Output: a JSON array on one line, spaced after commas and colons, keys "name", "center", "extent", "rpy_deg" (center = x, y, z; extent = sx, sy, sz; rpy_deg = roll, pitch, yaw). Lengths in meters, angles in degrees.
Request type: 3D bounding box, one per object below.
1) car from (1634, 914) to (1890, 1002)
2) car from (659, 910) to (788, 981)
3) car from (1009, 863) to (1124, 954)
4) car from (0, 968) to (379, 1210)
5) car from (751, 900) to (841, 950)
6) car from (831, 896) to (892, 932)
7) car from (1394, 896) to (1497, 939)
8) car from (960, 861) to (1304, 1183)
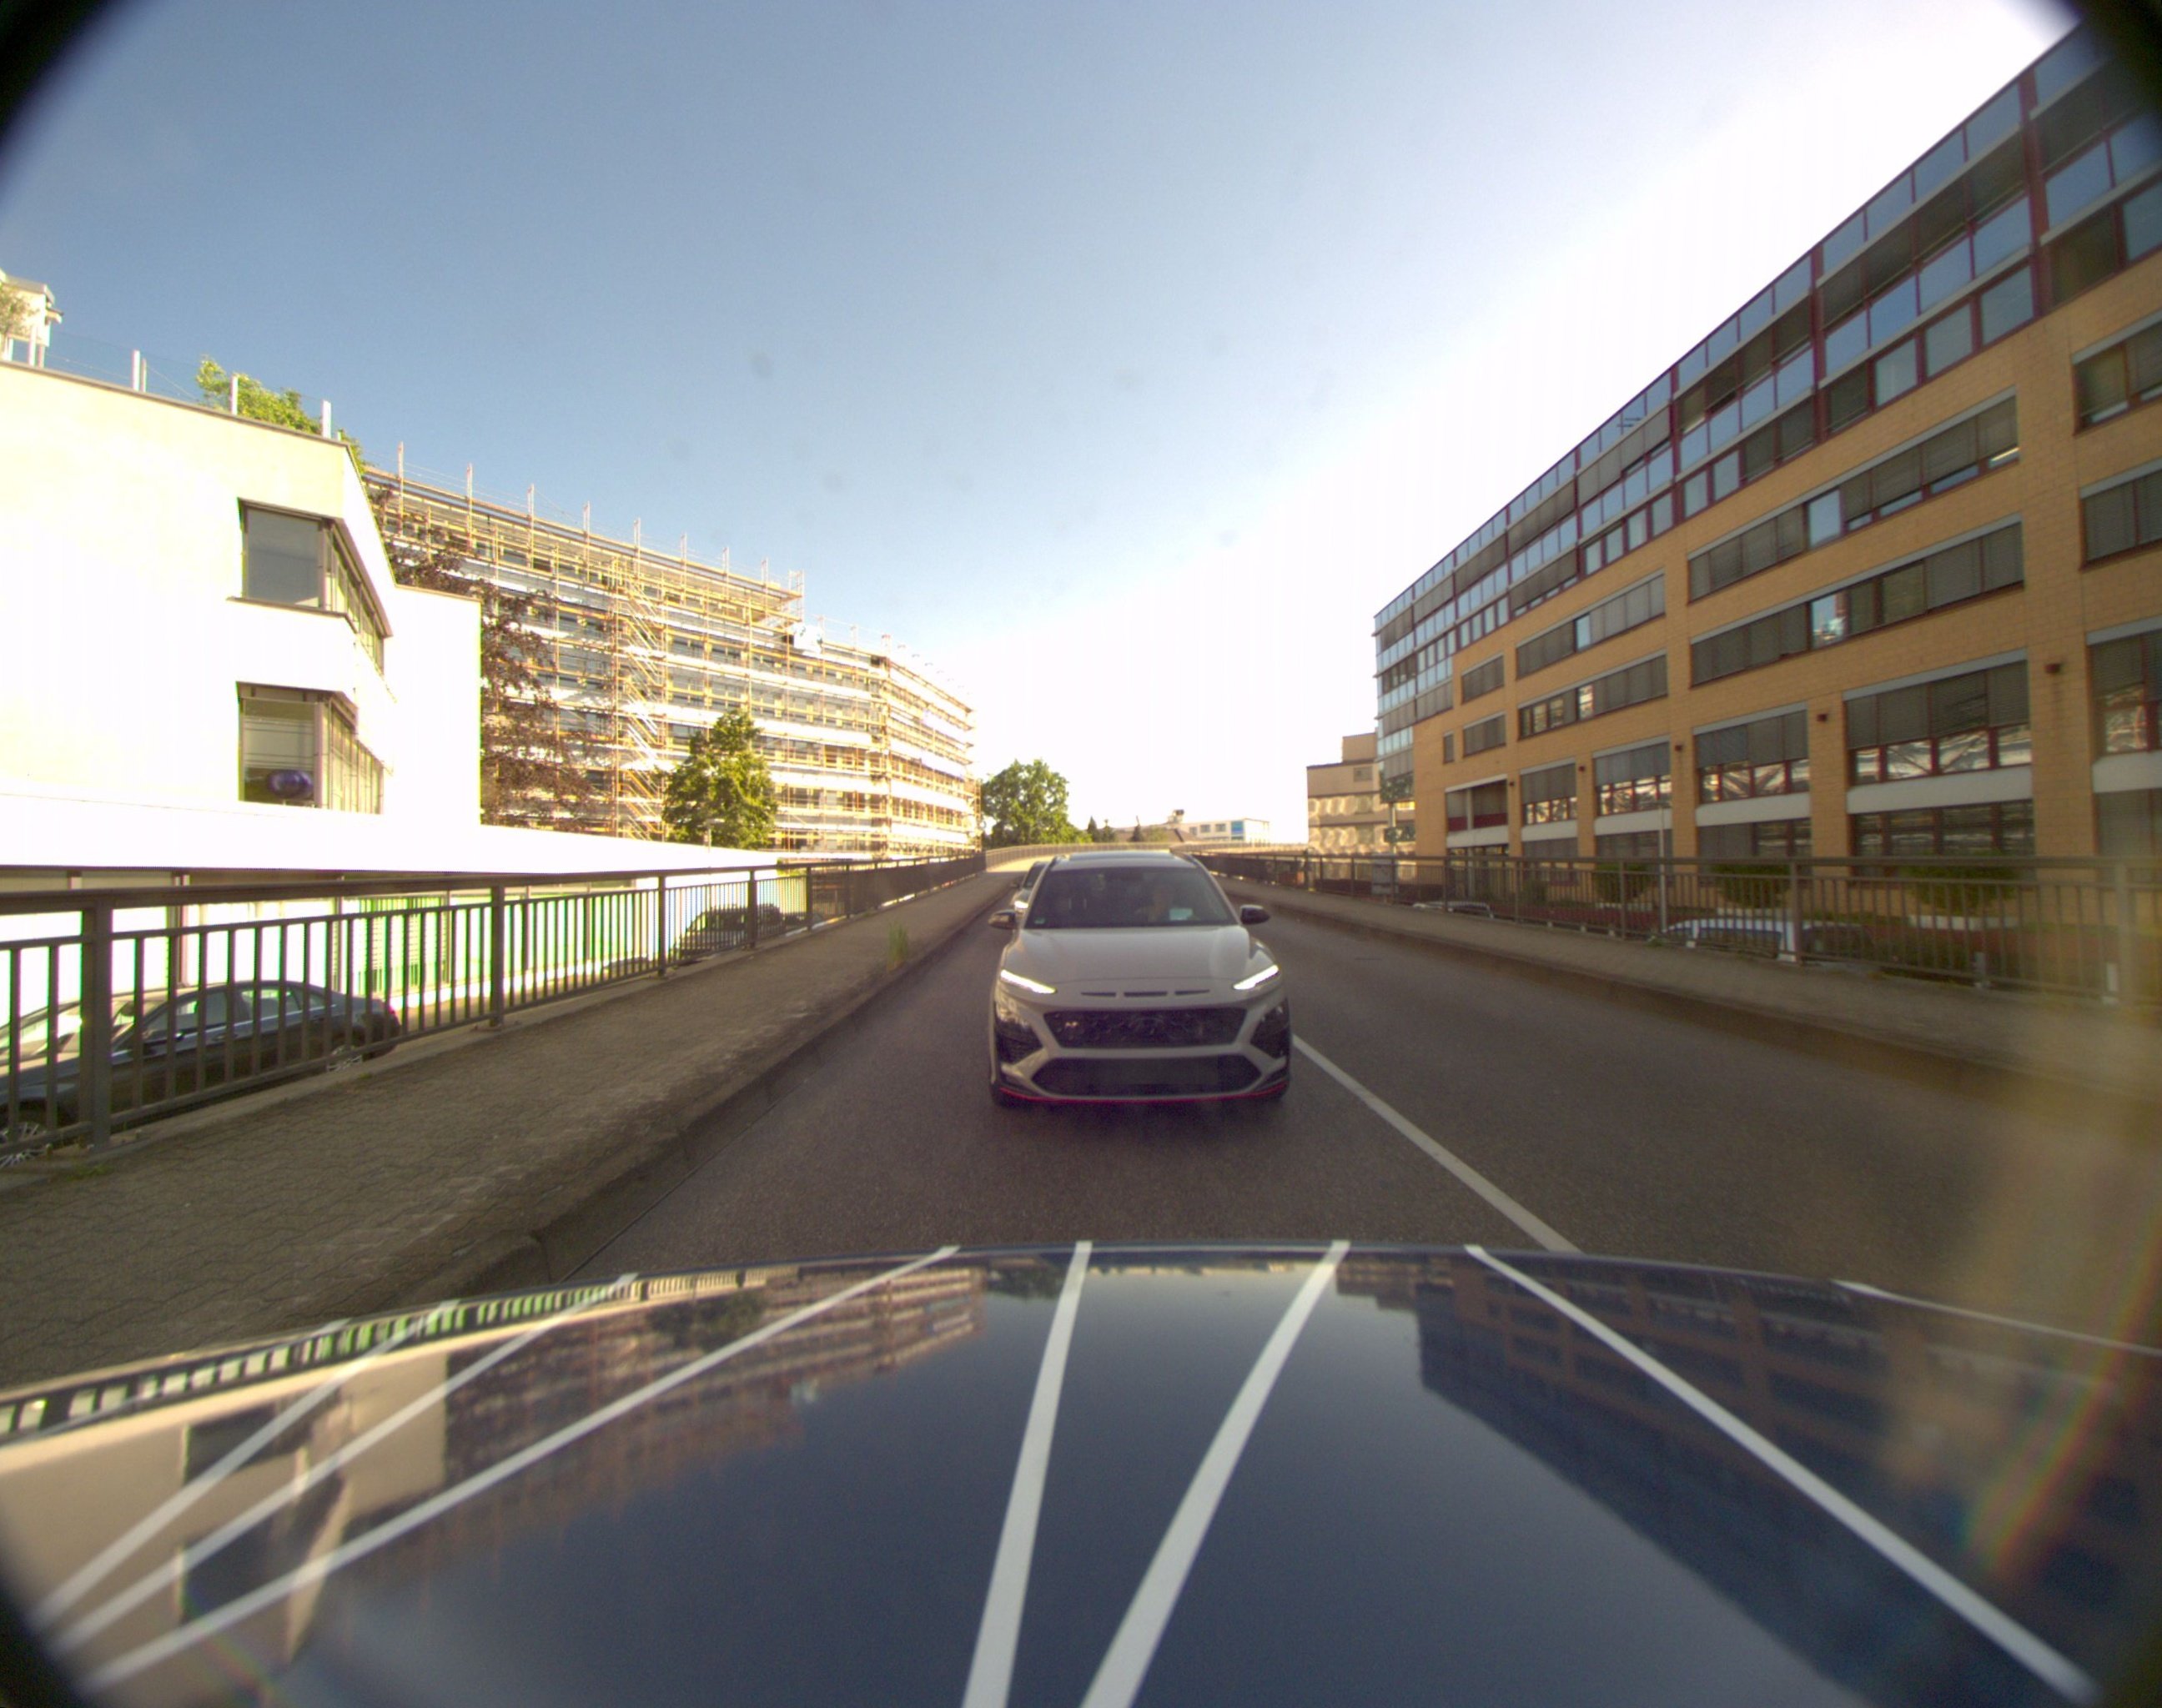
[{"name": "car", "center": [13.047, 1.939, 14.915], "extent": [1.580, 1.261, 3.809], "rpy_deg": [0, -1, -1]}, {"name": "car", "center": [-9.910, 2.473, 21.421], "extent": [1.726, 1.513, 4.000], "rpy_deg": [-2, -1, -1]}, {"name": "car", "center": [-0.289, 0.934, 14.732], "extent": [1.902, 1.433, 4.126], "rpy_deg": [0, 0, -1]}, {"name": "car", "center": [-9.598, 2.168, 7.410], "extent": [1.726, 1.513, 4.001], "rpy_deg": [-2, -1, 1]}, {"name": "car", "center": [-10.091, 2.480, 27.209], "extent": [1.726, 1.383, 4.000], "rpy_deg": [-2, -1, -1]}, {"name": "car", "center": [-10.215, 2.776, 35.669], "extent": [1.726, 1.383, 4.000], "rpy_deg": [-2, -1, -1]}, {"name": "car", "center": [12.740, 2.195, 26.822], "extent": [1.766, 1.261, 3.809], "rpy_deg": [0, -1, -1]}, {"name": "car", "center": [0.287, 0.887, 5.886], "extent": [1.749, 1.637, 4.001], "rpy_deg": [0, -1, 1]}]
